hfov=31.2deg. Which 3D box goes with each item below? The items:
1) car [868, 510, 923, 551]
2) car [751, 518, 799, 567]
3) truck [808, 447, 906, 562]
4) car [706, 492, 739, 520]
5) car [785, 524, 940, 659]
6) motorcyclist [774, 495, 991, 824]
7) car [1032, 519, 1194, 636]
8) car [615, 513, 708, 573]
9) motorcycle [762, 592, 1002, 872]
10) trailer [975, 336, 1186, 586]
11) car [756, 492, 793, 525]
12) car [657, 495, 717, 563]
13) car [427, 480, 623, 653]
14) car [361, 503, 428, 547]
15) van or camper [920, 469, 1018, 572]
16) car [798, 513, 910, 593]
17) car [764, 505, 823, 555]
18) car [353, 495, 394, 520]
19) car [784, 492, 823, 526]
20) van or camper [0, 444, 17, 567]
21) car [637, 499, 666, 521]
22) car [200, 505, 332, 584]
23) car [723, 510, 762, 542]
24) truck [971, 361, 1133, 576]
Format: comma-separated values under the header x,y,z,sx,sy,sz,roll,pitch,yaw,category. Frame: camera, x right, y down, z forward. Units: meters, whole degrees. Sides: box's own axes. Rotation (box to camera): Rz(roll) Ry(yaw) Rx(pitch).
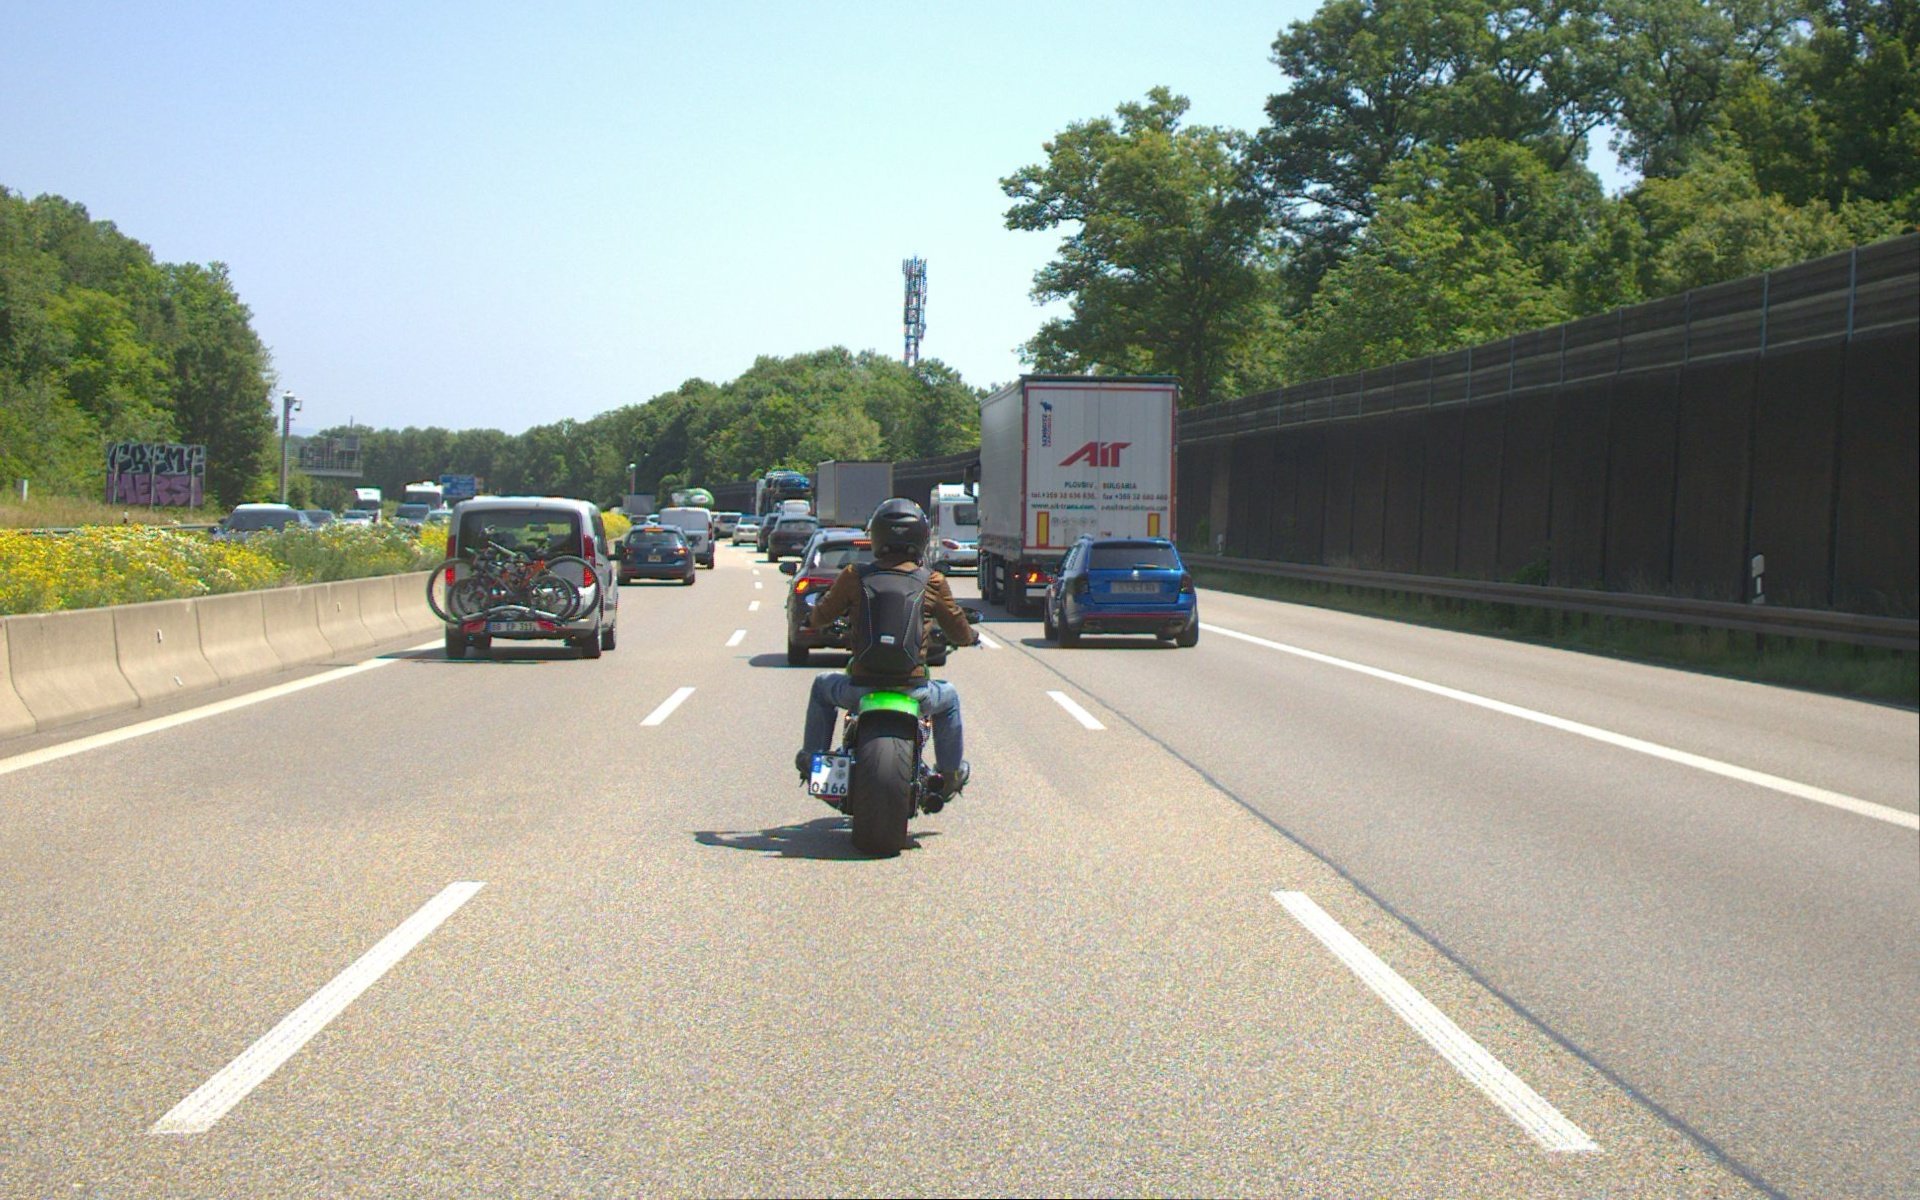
x,y,z,sx,sy,sz,roll,pitch,yaw,category
-2.624,-2.801,139.125,1.993,1.568,4.001,0,0,-4,car
-7.819,-2.417,144.889,1.911,2.007,3.691,0,0,-4,car
-4.695,-4.237,154.876,3.802,4.943,8.952,0,0,-6,truck
-13.586,-5.389,196.635,1.832,1.491,3.744,1,0,-3,car
-1.124,-0.104,38.964,1.662,1.448,3.869,1,0,-2,car
-0.341,0.261,16.355,0.900,1.470,1.872,1,0,2,motorcyclist
2.005,-0.308,46.099,1.650,1.477,4.482,1,0,-4,car
-7.119,-1.337,82.273,1.993,1.382,4.000,1,0,-2,car
-0.326,0.578,16.500,0.964,1.144,2.811,1,1,2,motorcycle
1.985,-2.420,62.713,2.885,4.024,13.797,1,1,-2,trailer
-11.257,-5.532,208.022,2.107,1.870,4.001,0,0,-5,car
-8.374,-2.159,105.488,1.791,2.007,3.643,0,0,-4,car
-4.962,-0.376,39.715,1.899,1.867,4.413,1,0,-3,car
-21.304,-2.811,129.627,1.993,1.585,4.163,1,0,-2,car
0.250,-2.224,98.451,2.685,2.803,6.803,1,0,0,van or camper
-2.012,-0.861,64.129,1.993,1.425,3.848,1,0,-3,car
-5.794,-2.409,119.156,1.993,1.634,4.001,0,0,-3,car
-34.800,-5.491,204.104,1.993,1.427,4.192,0,1,-4,car
-9.228,-5.346,202.358,2.107,1.870,4.001,0,0,-5,car
-20.908,-1.949,68.866,2.186,2.552,6.932,1,0,-1,van or camper
-22.126,-6.426,246.411,1.832,1.491,3.744,0,0,-8,car
-13.597,-1.107,67.523,1.808,1.481,3.856,1,1,0,car
-10.709,-3.619,169.235,1.832,1.491,3.744,1,0,-3,car
1.782,-2.613,69.551,2.885,4.132,5.987,1,1,-2,truck
